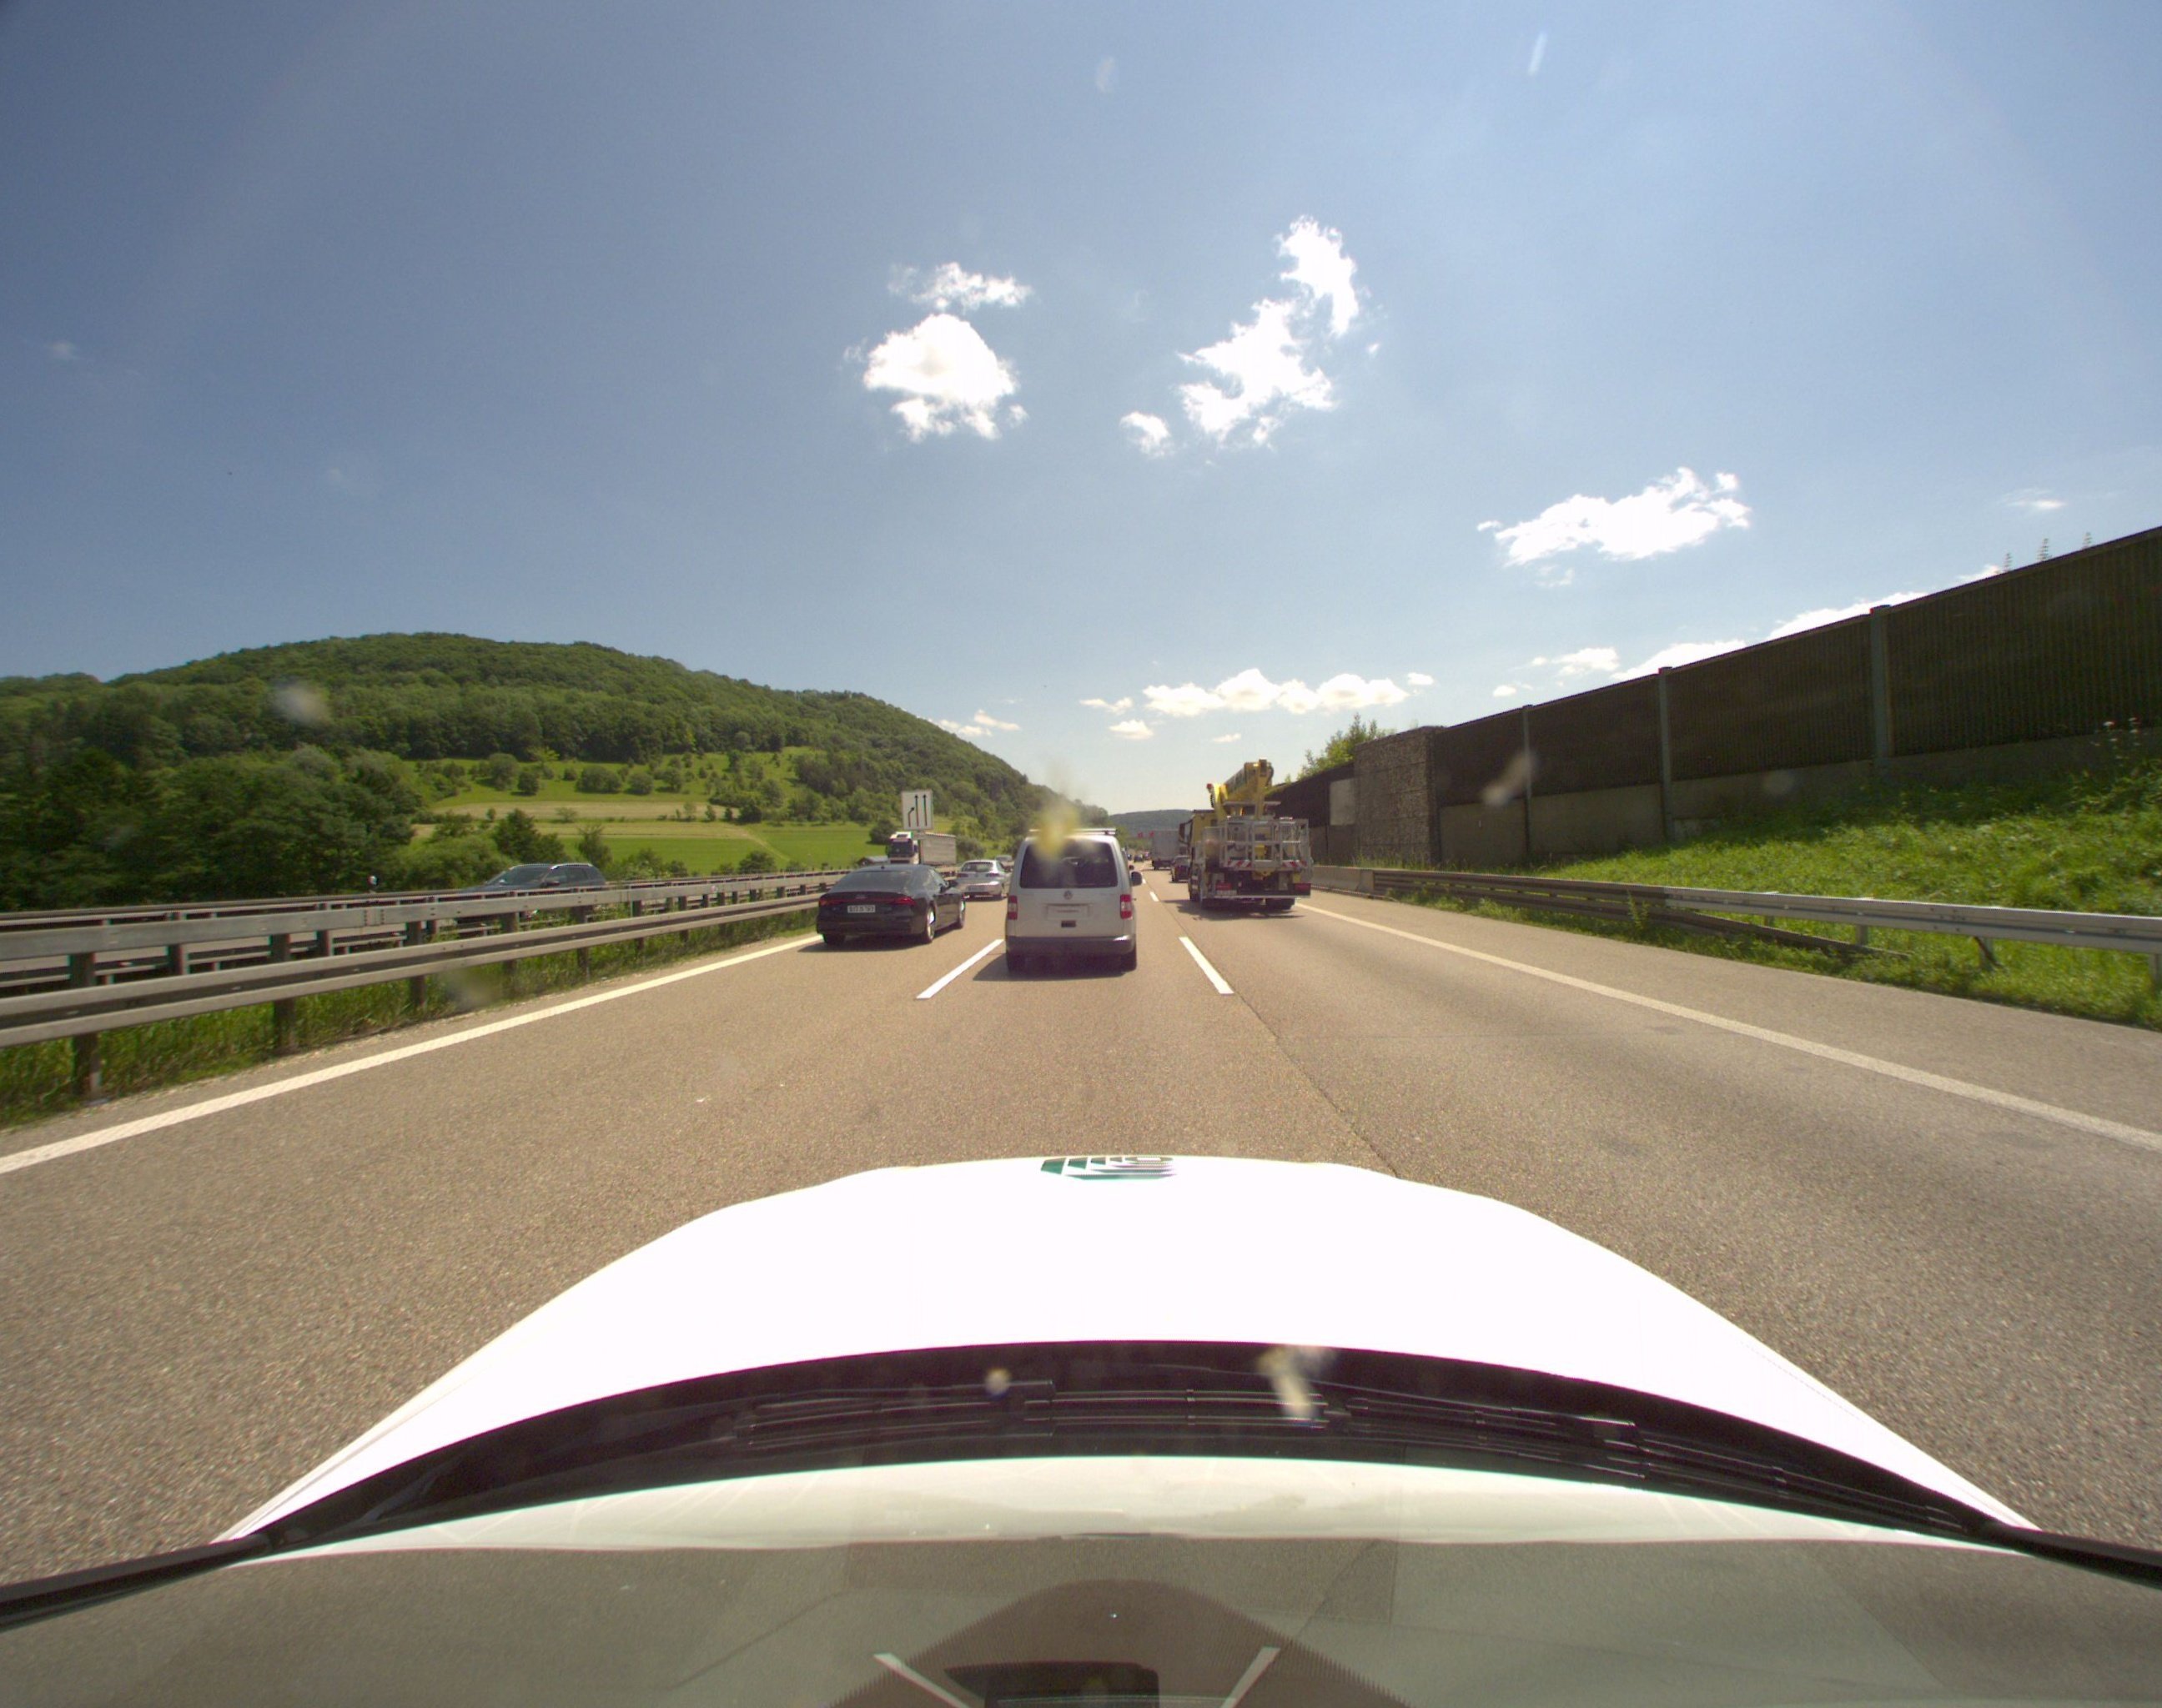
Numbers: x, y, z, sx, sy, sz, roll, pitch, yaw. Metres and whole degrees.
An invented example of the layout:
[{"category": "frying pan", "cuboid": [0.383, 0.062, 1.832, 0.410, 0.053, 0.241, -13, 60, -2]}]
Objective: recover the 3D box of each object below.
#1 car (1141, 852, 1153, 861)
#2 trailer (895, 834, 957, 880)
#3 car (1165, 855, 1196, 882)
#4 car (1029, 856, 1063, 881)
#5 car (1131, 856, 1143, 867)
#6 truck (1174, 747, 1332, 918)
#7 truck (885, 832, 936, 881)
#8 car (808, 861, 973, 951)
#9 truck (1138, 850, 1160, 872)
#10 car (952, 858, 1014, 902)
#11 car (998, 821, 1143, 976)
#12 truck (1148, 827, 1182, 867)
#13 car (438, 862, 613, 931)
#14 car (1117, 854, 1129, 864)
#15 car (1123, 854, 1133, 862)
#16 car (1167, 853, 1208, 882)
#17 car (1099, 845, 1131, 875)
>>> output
[{"category": "car", "cuboid": [13.188, 0.559, 163.103, 2.107, 1.828, 3.999, 0, -1, 0]}, {"category": "trailer", "cuboid": [-15.206, 0.327, 81.127, 2.842, 4.191, 13.626, 0, -1, 3]}, {"category": "car", "cuboid": [7.789, 1.108, 63.914, 1.986, 2.013, 4.002, -1, 0, 2]}, {"category": "car", "cuboid": [-2.157, 0.885, 51.069, 1.918, 1.499, 4.000, -1, 0, 0]}, {"category": "car", "cuboid": [9.485, 1.283, 139.127, 1.985, 1.749, 4.003, 0, -1, 3]}, {"category": "truck", "cuboid": [4.539, -0.499, 23.480, 2.695, 3.942, 8.721, -1, 0, 0]}, {"category": "truck", "cuboid": [-15.567, 0.252, 75.071, 2.786, 4.232, 7.237, 0, -1, 3]}, {"category": "car", "cuboid": [-3.439, 0.871, 15.773, 1.793, 1.390, 4.972, -1, 0, 2]}, {"category": "truck", "cuboid": [8.558, 0.869, 101.974, 2.377, 2.541, 5.951, -1, 0, 7]}, {"category": "car", "cuboid": [-3.472, 0.881, 29.449, 1.690, 1.445, 3.862, -1, 0, 1]}, {"category": "car", "cuboid": [-0.113, 0.555, 12.041, 1.750, 1.868, 4.000, -1, 0, 0]}, {"category": "truck", "cuboid": [8.297, -0.605, 80.973, 2.928, 3.823, 8.242, 0, -1, 3]}, {"category": "car", "cuboid": [-14.920, 1.071, 22.184, 1.842, 1.609, 4.080, -1, 0, 2]}, {"category": "car", "cuboid": [8.025, 0.954, 155.077, 2.107, 1.828, 3.999, 0, -1, 0]}, {"category": "car", "cuboid": [10.257, 0.889, 177.060, 1.986, 1.805, 4.001, 0, -1, 1]}, {"category": "car", "cuboid": [5.793, 0.724, 44.676, 1.780, 1.458, 3.770, -1, 0, 0]}, {"category": "car", "cuboid": [2.325, 0.428, 56.482, 1.987, 1.975, 4.000, -1, 0, 0]}]
